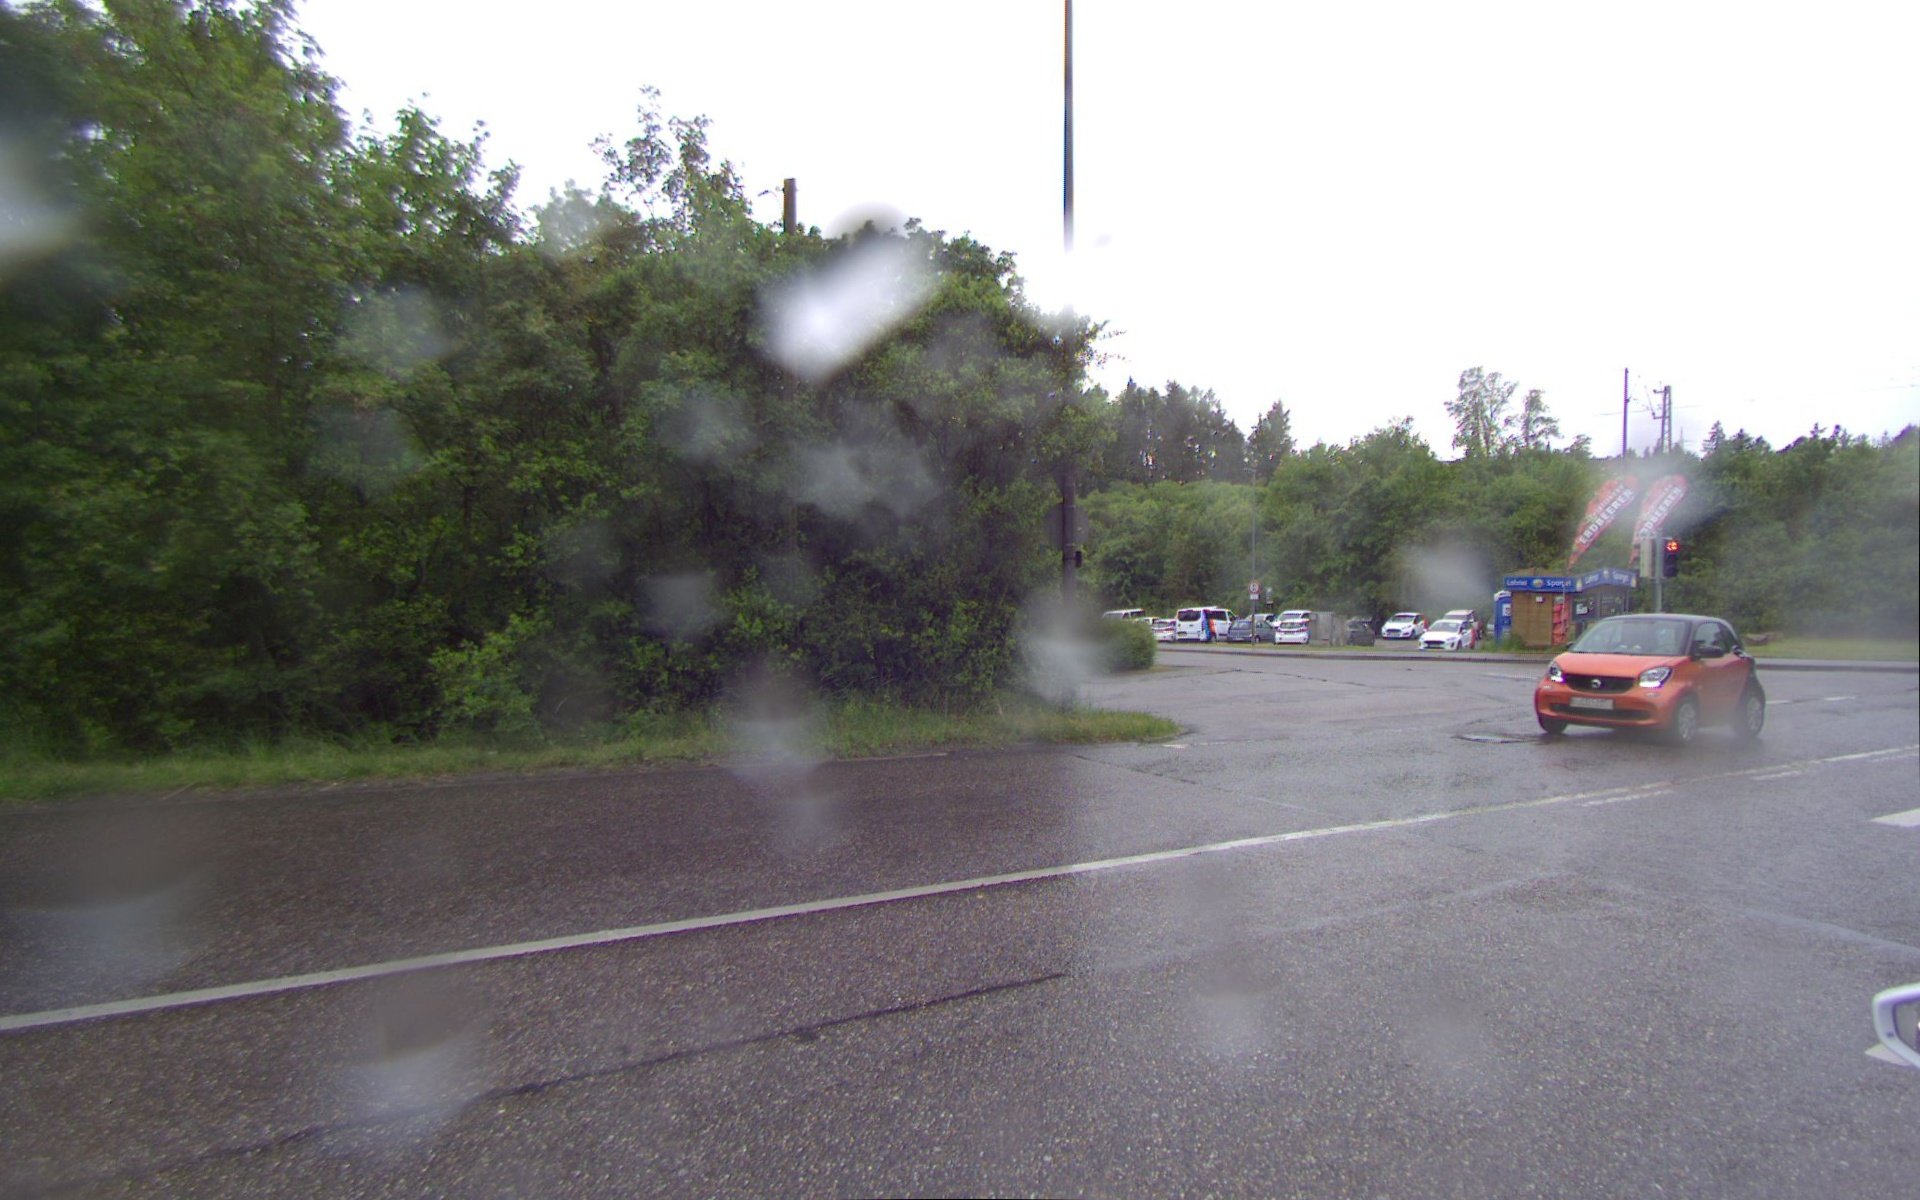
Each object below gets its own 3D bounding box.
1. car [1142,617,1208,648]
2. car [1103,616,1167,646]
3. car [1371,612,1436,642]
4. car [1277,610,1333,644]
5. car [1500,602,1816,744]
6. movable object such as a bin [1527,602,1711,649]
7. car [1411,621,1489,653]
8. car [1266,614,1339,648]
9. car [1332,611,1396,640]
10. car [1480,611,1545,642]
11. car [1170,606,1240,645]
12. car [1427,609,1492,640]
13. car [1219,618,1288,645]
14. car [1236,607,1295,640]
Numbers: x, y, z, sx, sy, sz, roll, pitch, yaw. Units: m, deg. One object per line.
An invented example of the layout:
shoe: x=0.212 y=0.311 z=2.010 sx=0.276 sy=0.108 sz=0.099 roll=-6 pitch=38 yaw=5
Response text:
car: x=12.093 y=1.836 z=56.369 sx=1.834 sy=1.606 sz=3.978 roll=2 pitch=-1 yaw=42
car: x=10.178 y=1.808 z=58.266 sx=1.813 sy=1.606 sz=3.978 roll=2 pitch=-1 yaw=42
car: x=25.363 y=1.545 z=57.387 sx=3.972 sy=1.606 sz=1.975 roll=3 pitch=-1 yaw=-43
car: x=21.621 y=1.658 z=62.944 sx=1.916 sy=2.040 sz=3.846 roll=2 pitch=0 yaw=43
car: x=9.339 y=0.919 z=13.407 sx=3.954 sy=1.606 sz=1.984 roll=3 pitch=-1 yaw=-30
movable object such as a bin: x=26.845 y=1.030 z=41.166 sx=5.663 sy=1.649 sz=2.753 roll=2 pitch=-1 yaw=10
car: x=22.827 y=1.735 z=46.728 sx=4.868 sy=1.358 sz=1.636 roll=3 pitch=-1 yaw=-43
car: x=17.552 y=1.596 z=51.415 sx=3.880 sy=1.606 sz=1.918 roll=3 pitch=-1 yaw=-43
car: x=23.898 y=1.516 z=59.398 sx=3.972 sy=1.606 sz=1.975 roll=3 pitch=-1 yaw=-43
car: x=29.847 y=1.426 z=54.222 sx=3.972 sy=1.606 sz=1.975 roll=2 pitch=-1 yaw=-43
car: x=13.316 y=1.403 z=54.431 sx=1.971 sy=1.975 sz=3.978 roll=2 pitch=-1 yaw=42
car: x=27.553 y=1.355 z=55.406 sx=3.972 sy=1.606 sz=1.975 roll=2 pitch=-1 yaw=-43
car: x=15.577 y=1.683 z=53.182 sx=3.972 sy=1.327 sz=1.734 roll=3 pitch=-1 yaw=-43
car: x=19.751 y=1.523 z=64.825 sx=3.973 sy=2.040 sz=1.974 roll=2 pitch=-1 yaw=-44
